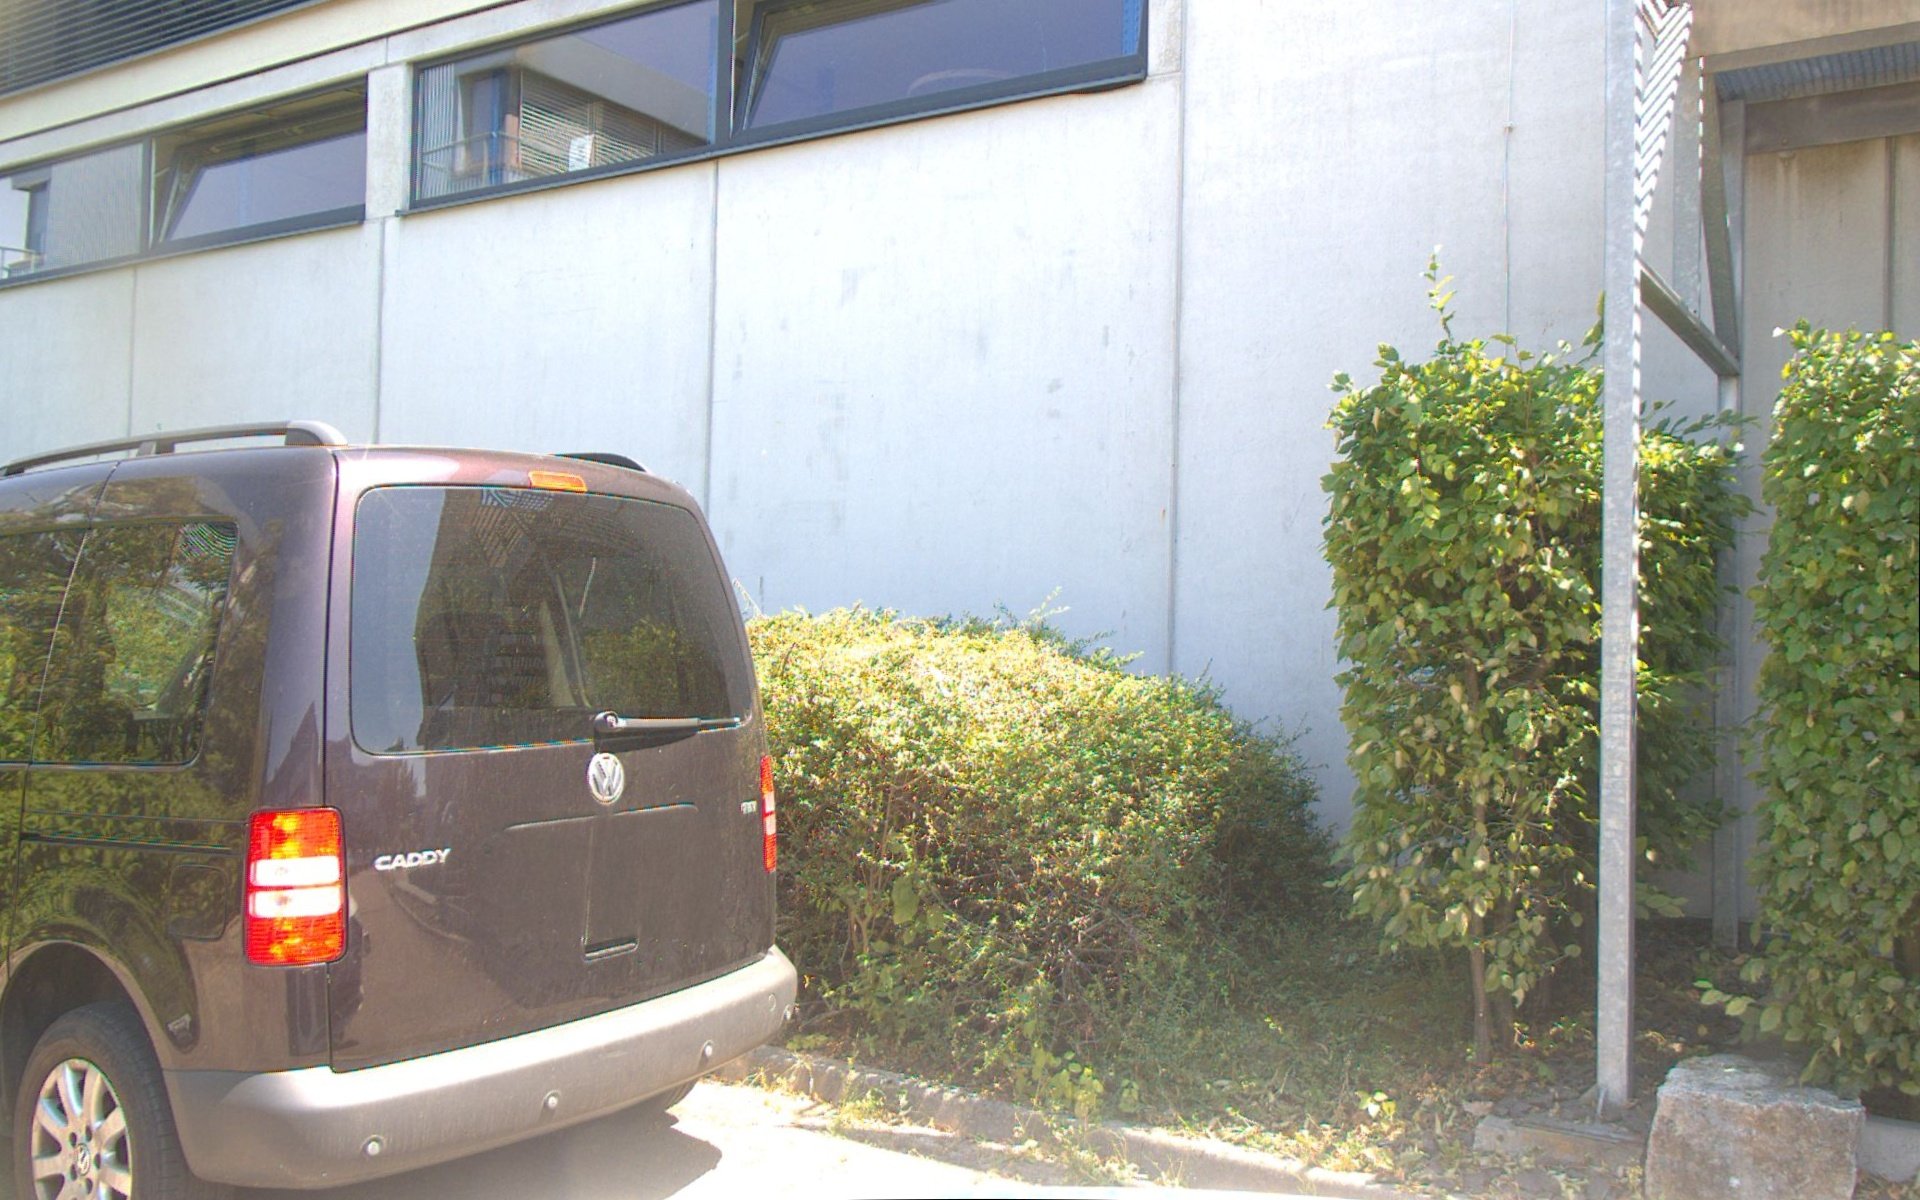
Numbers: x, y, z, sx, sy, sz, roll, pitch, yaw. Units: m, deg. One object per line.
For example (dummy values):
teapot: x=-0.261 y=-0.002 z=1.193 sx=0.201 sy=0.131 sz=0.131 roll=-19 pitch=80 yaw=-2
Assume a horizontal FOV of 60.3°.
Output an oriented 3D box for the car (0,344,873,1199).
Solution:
car: x=-2.346 y=0.484 z=4.800 sx=3.987 sy=1.917 sz=1.673 roll=1 pitch=0 yaw=34
